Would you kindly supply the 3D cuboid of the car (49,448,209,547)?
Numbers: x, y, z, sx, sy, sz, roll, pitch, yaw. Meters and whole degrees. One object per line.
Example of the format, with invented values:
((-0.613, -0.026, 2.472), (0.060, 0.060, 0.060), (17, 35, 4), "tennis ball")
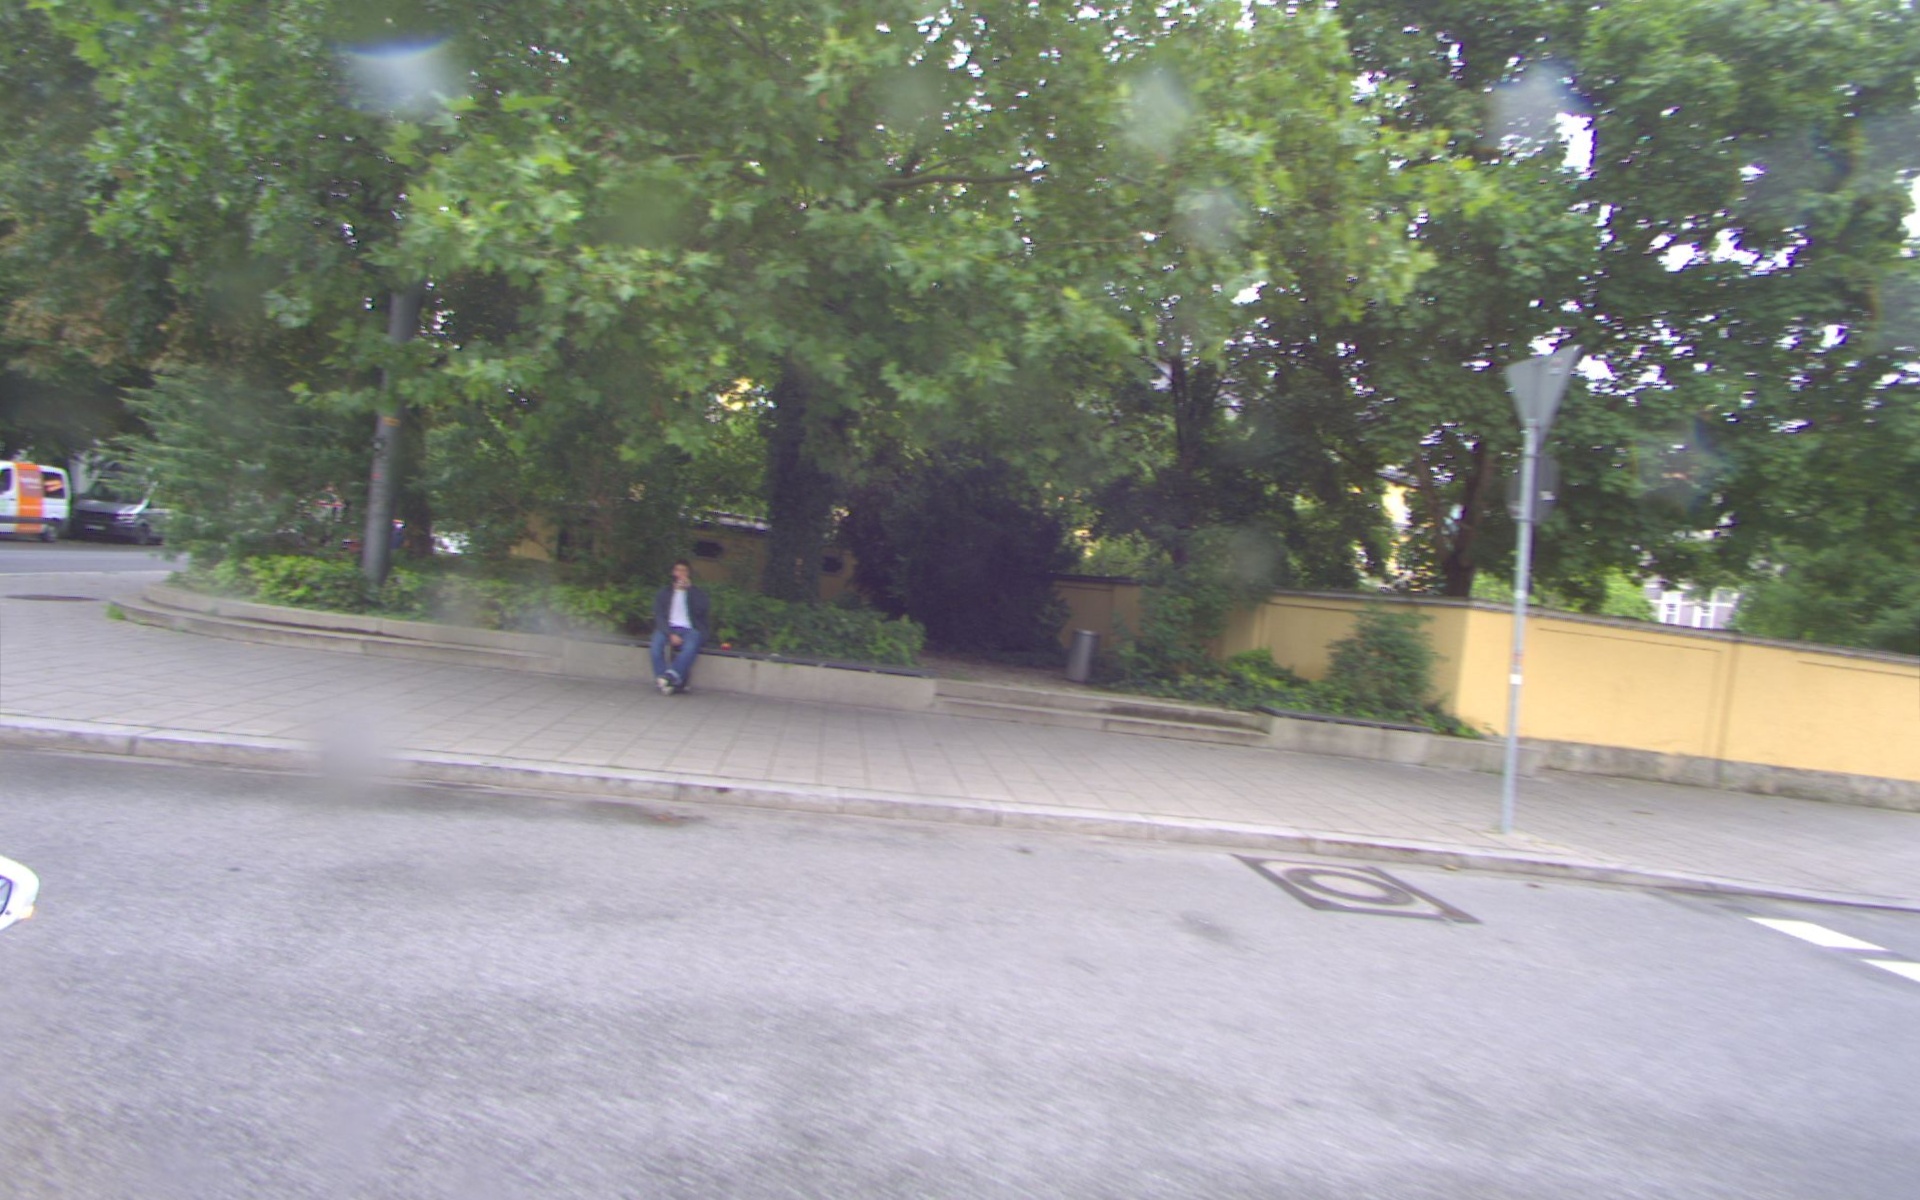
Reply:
((-30.402, -3.620, 37.124), (2.147, 3.041, 6.207), (6, 1, -17), "car")

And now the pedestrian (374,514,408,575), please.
((-16.587, -1.617, 29.335), (0.630, 1.689, 0.689), (5, 2, -39), "pedestrian")

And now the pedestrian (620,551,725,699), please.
((-2.945, 0.239, 10.421), (0.758, 1.374, 1.129), (6, 2, -8), "pedestrian")

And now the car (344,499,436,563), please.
((-20.875, -2.476, 37.055), (1.889, 1.961, 4.947), (6, 1, -19), "car")

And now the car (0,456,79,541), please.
((-27.857, -2.956, 28.515), (2.057, 2.295, 5.581), (4, 1, -16), "car")

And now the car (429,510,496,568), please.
((-25.618, -3.097, 51.981), (1.969, 2.591, 5.409), (6, 1, -17), "car")
